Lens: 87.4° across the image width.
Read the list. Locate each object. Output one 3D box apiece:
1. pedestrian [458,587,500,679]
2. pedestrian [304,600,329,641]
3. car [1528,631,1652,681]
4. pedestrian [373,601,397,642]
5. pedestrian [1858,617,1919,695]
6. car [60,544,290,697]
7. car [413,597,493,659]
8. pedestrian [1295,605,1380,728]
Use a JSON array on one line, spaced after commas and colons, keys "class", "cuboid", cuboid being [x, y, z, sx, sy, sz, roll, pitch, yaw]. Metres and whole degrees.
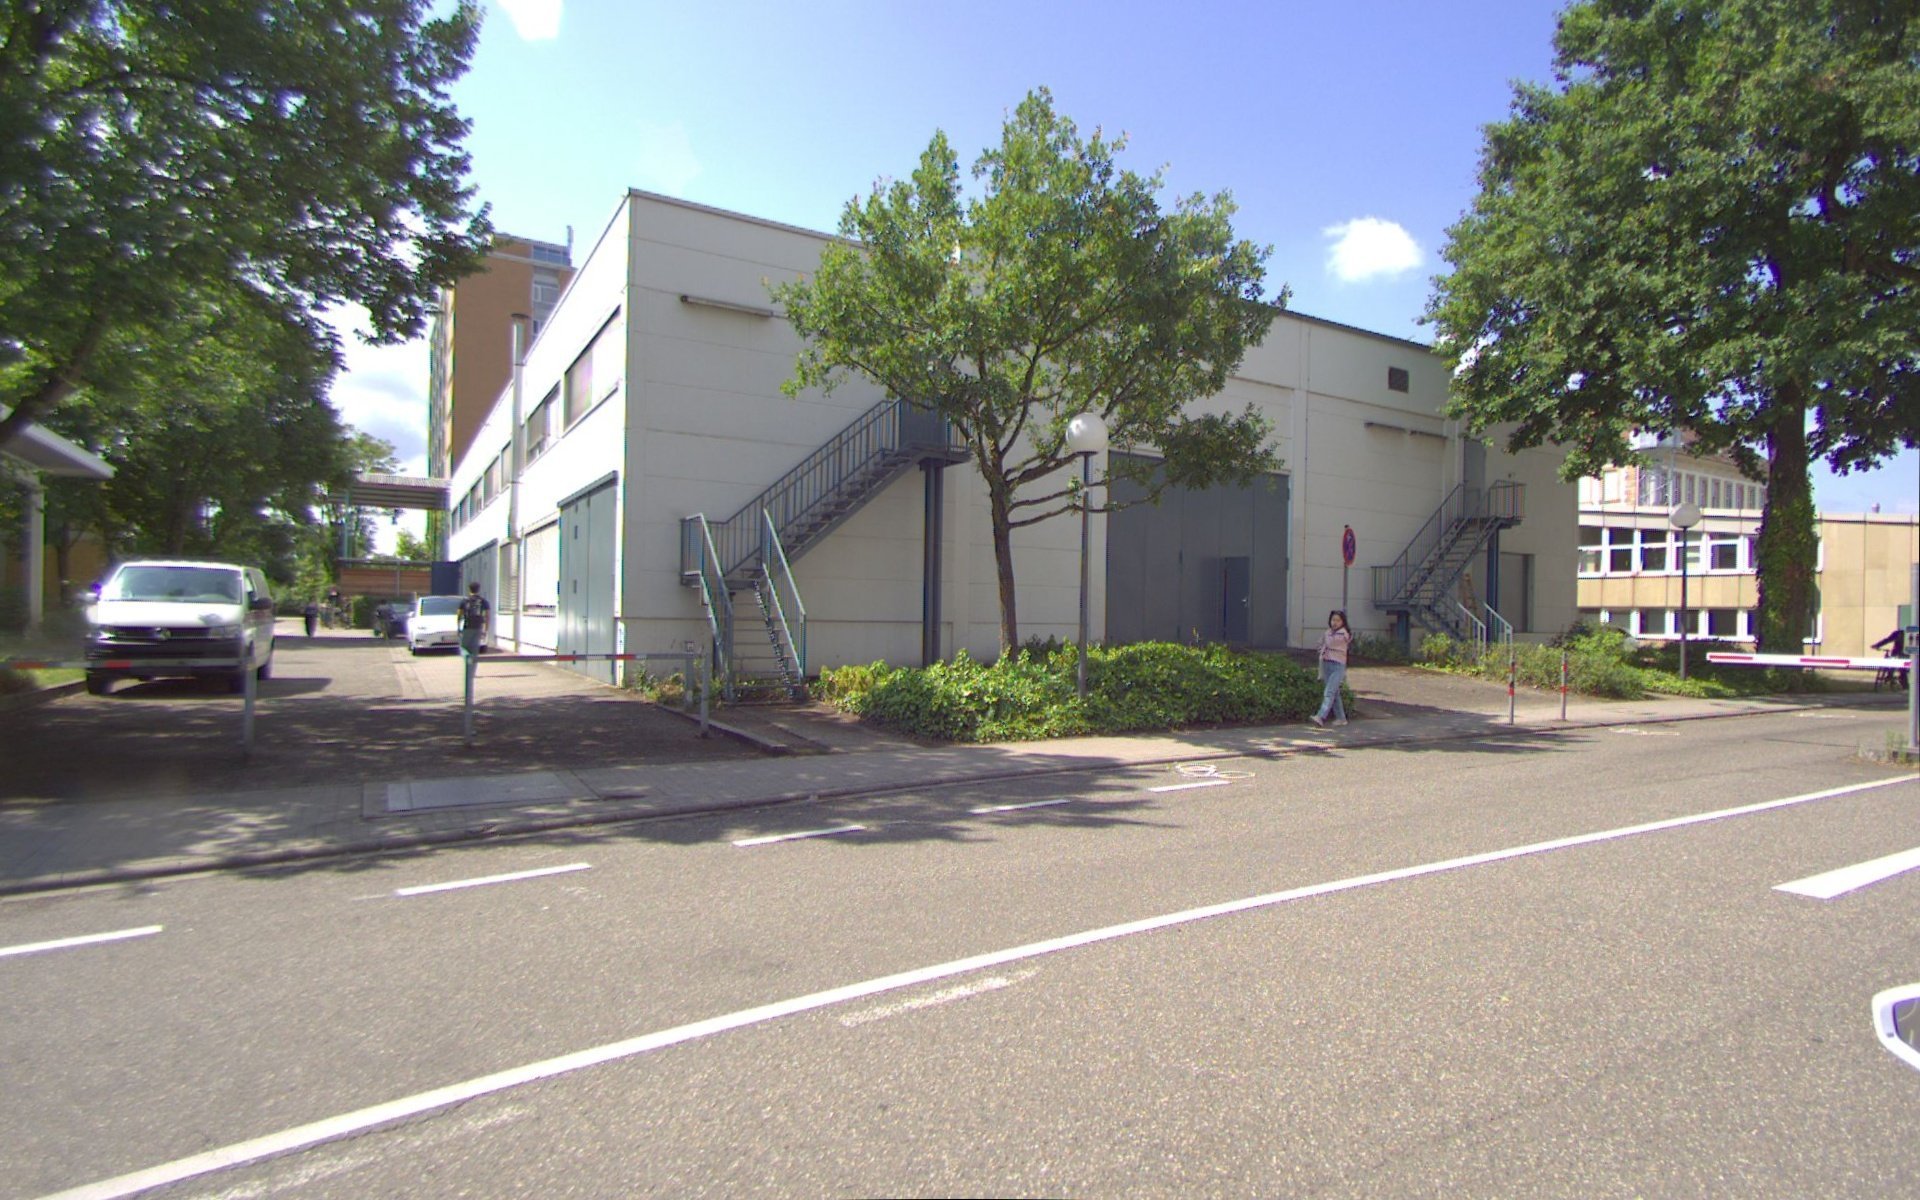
[{"class": "pedestrian", "cuboid": [-8.982, 0.598, 18.736, 0.658, 1.670, 0.763, 1, 0, -28]}, {"class": "pedestrian", "cuboid": [-25.383, 0.801, 39.621, 0.762, 1.566, 0.822, 1, 0, -28]}, {"class": "car", "cuboid": [20.717, 1.799, 32.998, 4.252, 1.486, 1.819, 1, -1, -32]}, {"class": "pedestrian", "cuboid": [-22.029, 0.815, 38.520, 0.762, 1.566, 0.822, 1, 0, -28]}, {"class": "pedestrian", "cuboid": [22.804, 1.351, 24.599, 0.797, 1.840, 1.050, 1, -1, -32]}, {"class": "car", "cuboid": [-12.099, 0.318, 15.878, 1.976, 2.012, 4.900, 3, -1, -28]}, {"class": "car", "cuboid": [-15.069, 0.766, 29.797, 1.975, 1.676, 4.900, 0, 0, -28]}, {"class": "pedestrian", "cuboid": [5.239, 0.898, 13.946, 0.874, 1.648, 0.709, 1, -1, -32]}]
